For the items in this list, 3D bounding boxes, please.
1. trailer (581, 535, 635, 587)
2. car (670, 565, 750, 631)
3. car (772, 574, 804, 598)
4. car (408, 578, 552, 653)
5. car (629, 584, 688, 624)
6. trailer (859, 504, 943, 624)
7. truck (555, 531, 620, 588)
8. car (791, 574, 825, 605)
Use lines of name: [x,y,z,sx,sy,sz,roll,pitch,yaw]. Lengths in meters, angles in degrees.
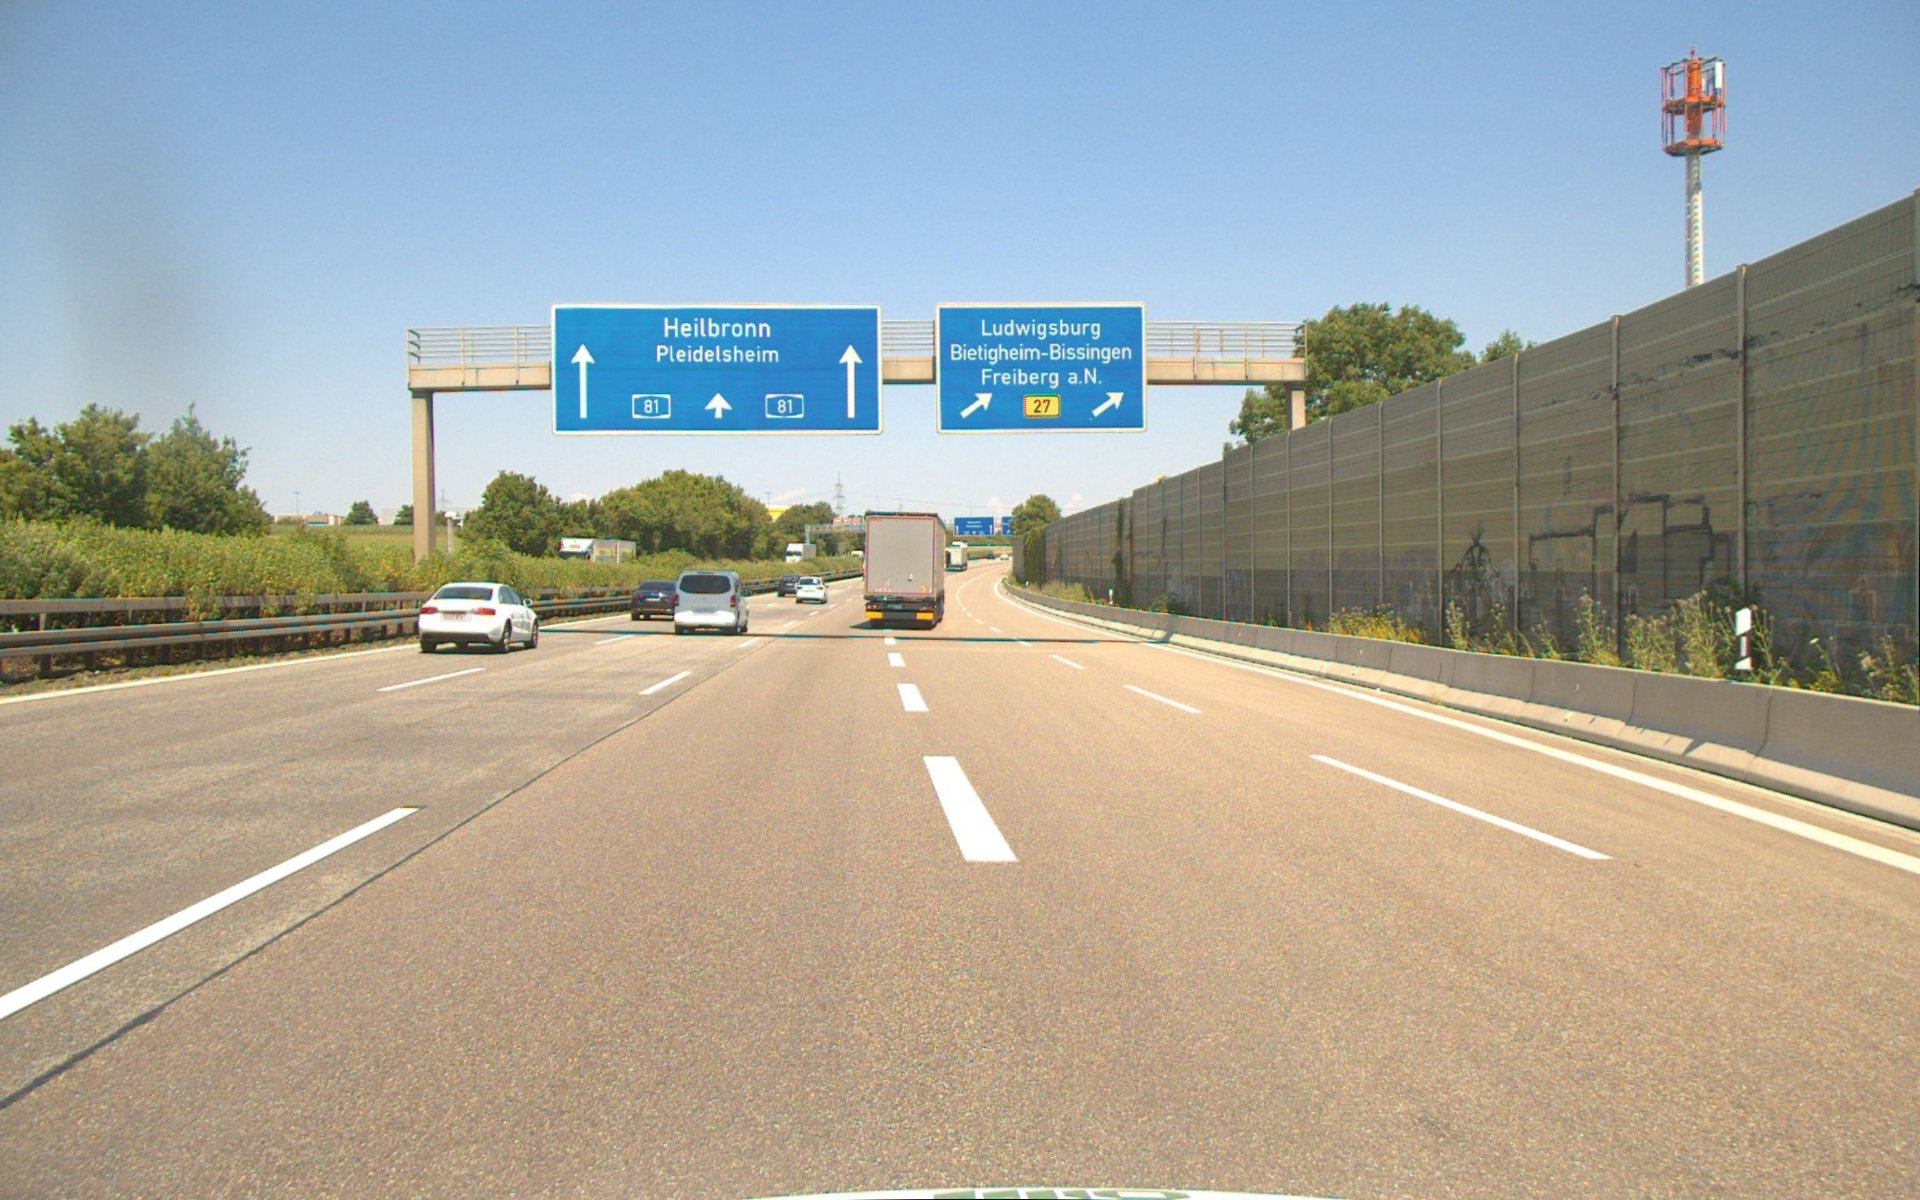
trailer: [-28.476,-3.124,134.168,2.865,4.036,8.654,1,1,-3]
car: [-7.477,-0.029,49.826,1.892,1.884,4.690,0,0,-3]
car: [-12.647,-1.059,121.985,1.865,1.718,4.631,0,1,0]
car: [-10.275,0.292,35.797,1.839,1.465,5.122,1,0,-3]
car: [-11.494,0.160,63.386,1.722,1.433,5.034,0,0,-5]
trailer: [-2.243,-1.189,62.681,2.869,4.086,12.032,0,0,-2]
truck: [-27.989,-2.982,124.664,2.942,4.036,10.316,1,1,-3]
car: [-9.438,-0.660,102.858,1.866,1.884,4.629,0,0,-2]
